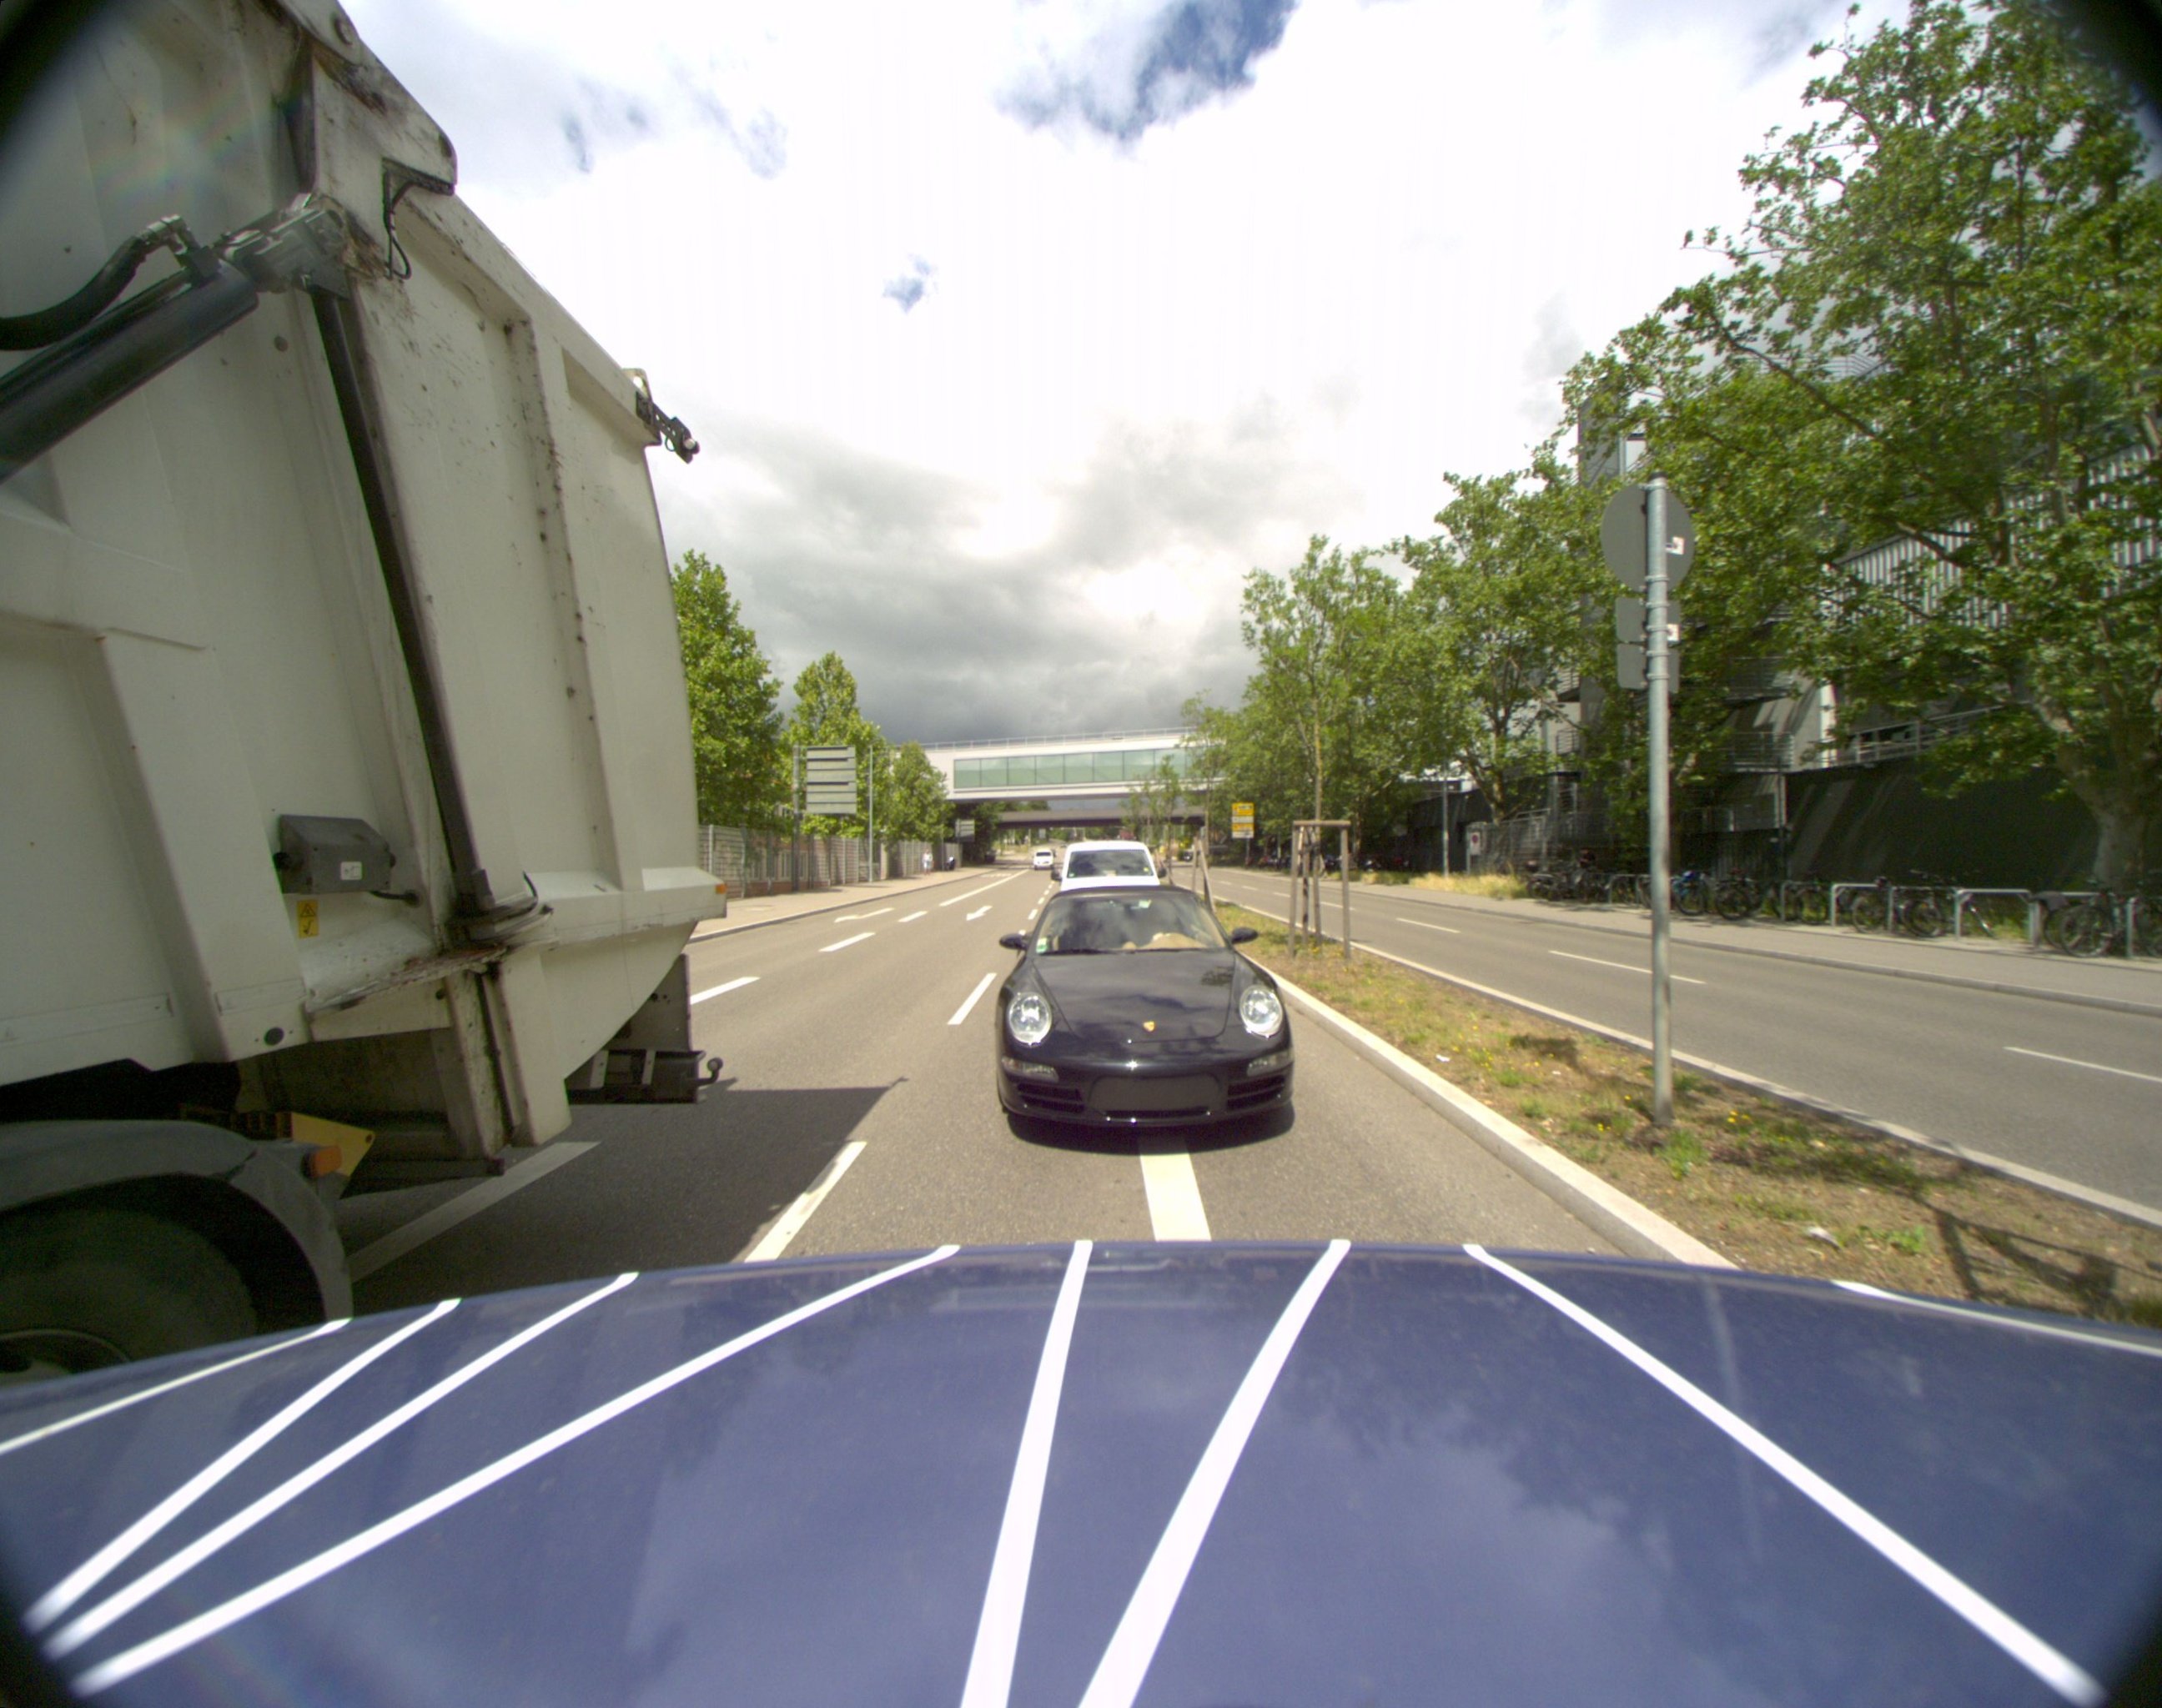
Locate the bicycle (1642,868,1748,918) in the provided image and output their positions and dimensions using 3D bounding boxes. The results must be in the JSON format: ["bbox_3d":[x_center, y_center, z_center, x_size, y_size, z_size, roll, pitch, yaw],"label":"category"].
[{"bbox_3d":[14.510,0.920,17.970,2.129,1.104,0.382,-1,1,3],"label":"bicycle"}]

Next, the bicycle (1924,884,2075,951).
[{"bbox_3d":[14.757,1.010,12.218,1.993,0.992,0.382,-1,1,-1],"label":"bicycle"}]

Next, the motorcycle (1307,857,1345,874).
[{"bbox_3d":[14.708,0.670,45.649,2.133,0.963,0.534,-1,0,1],"label":"motorcycle"}]

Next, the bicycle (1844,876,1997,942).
[{"bbox_3d":[14.583,0.953,13.219,2.129,1.089,0.382,-1,1,3],"label":"bicycle"}]

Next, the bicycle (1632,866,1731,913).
[{"bbox_3d":[15.070,0.891,19.085,2.129,1.104,0.382,-1,1,3],"label":"bicycle"}]

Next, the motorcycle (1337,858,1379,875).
[{"bbox_3d":[15.434,0.677,42.421,2.133,0.893,0.534,-1,0,1],"label":"motorcycle"}]

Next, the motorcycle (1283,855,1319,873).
[{"bbox_3d":[14.184,0.648,49.072,2.133,1.131,0.534,-1,0,1],"label":"motorcycle"}]

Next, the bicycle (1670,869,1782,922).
[{"bbox_3d":[14.484,0.928,17.083,2.129,1.104,0.382,-1,1,3],"label":"bicycle"}]

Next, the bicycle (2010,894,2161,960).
[{"bbox_3d":[14.961,1.069,11.239,1.993,0.885,0.382,-1,1,-1],"label":"bicycle"}]

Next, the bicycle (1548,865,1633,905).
[{"bbox_3d":[14.758,0.897,22.019,2.129,1.104,0.382,-1,1,3],"label":"bicycle"}]

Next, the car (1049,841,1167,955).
[{"bbox_3d":[0.471,0.709,14.686,1.862,1.800,4.906,-1,0,1],"label":"car"}]

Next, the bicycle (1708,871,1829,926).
[{"bbox_3d":[14.505,0.940,16.058,2.129,1.104,0.382,-1,1,3],"label":"bicycle"}]

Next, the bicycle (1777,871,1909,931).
[{"bbox_3d":[15.046,0.923,15.019,2.129,1.104,0.382,-1,1,3],"label":"bicycle"}]

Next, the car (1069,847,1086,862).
[{"bbox_3d":[-0.406,0.065,92.920,1.862,1.800,4.357,-3,0,1],"label":"car"}]

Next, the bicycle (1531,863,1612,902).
[{"bbox_3d":[14.754,0.861,22.861,2.129,1.104,0.382,-1,1,3],"label":"bicycle"}]

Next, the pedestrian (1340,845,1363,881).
[{"bbox_3d":[13.294,0.443,37.397,0.900,1.710,0.673,-1,1,1],"label":"pedestrian"}]

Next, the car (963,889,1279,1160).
[{"bbox_3d":[0.246,1.032,6.098,1.710,1.280,3.806,-1,0,1],"label":"car"}]

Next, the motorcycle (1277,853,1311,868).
[{"bbox_3d":[14.512,0.442,51.759,2.133,0.963,0.534,-1,0,1],"label":"motorcycle"}]

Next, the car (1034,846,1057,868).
[{"bbox_3d":[-3.521,0.272,75.946,1.925,2.082,4.657,-1,0,2],"label":"car"}]

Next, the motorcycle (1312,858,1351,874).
[{"bbox_3d":[14.704,0.707,44.623,2.133,0.880,0.534,-1,0,1],"label":"motorcycle"}]

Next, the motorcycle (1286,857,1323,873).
[{"bbox_3d":[14.011,0.670,47.727,2.133,0.963,0.534,-1,0,1],"label":"motorcycle"}]

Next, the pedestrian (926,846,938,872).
[{"bbox_3d":[-11.243,0.370,57.383,0.739,1.901,0.658,-2,1,-1],"label":"pedestrian"}]

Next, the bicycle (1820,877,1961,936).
[{"bbox_3d":[15.016,0.966,14.113,2.129,1.025,0.382,-1,1,3],"label":"bicycle"}]

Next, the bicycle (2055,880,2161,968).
[{"bbox_3d":[14.358,0.924,10.236,1.993,1.121,0.382,-1,1,-1],"label":"bicycle"}]

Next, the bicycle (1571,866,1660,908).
[{"bbox_3d":[14.828,0.911,21.096,2.129,1.104,0.382,-1,1,3],"label":"bicycle"}]
